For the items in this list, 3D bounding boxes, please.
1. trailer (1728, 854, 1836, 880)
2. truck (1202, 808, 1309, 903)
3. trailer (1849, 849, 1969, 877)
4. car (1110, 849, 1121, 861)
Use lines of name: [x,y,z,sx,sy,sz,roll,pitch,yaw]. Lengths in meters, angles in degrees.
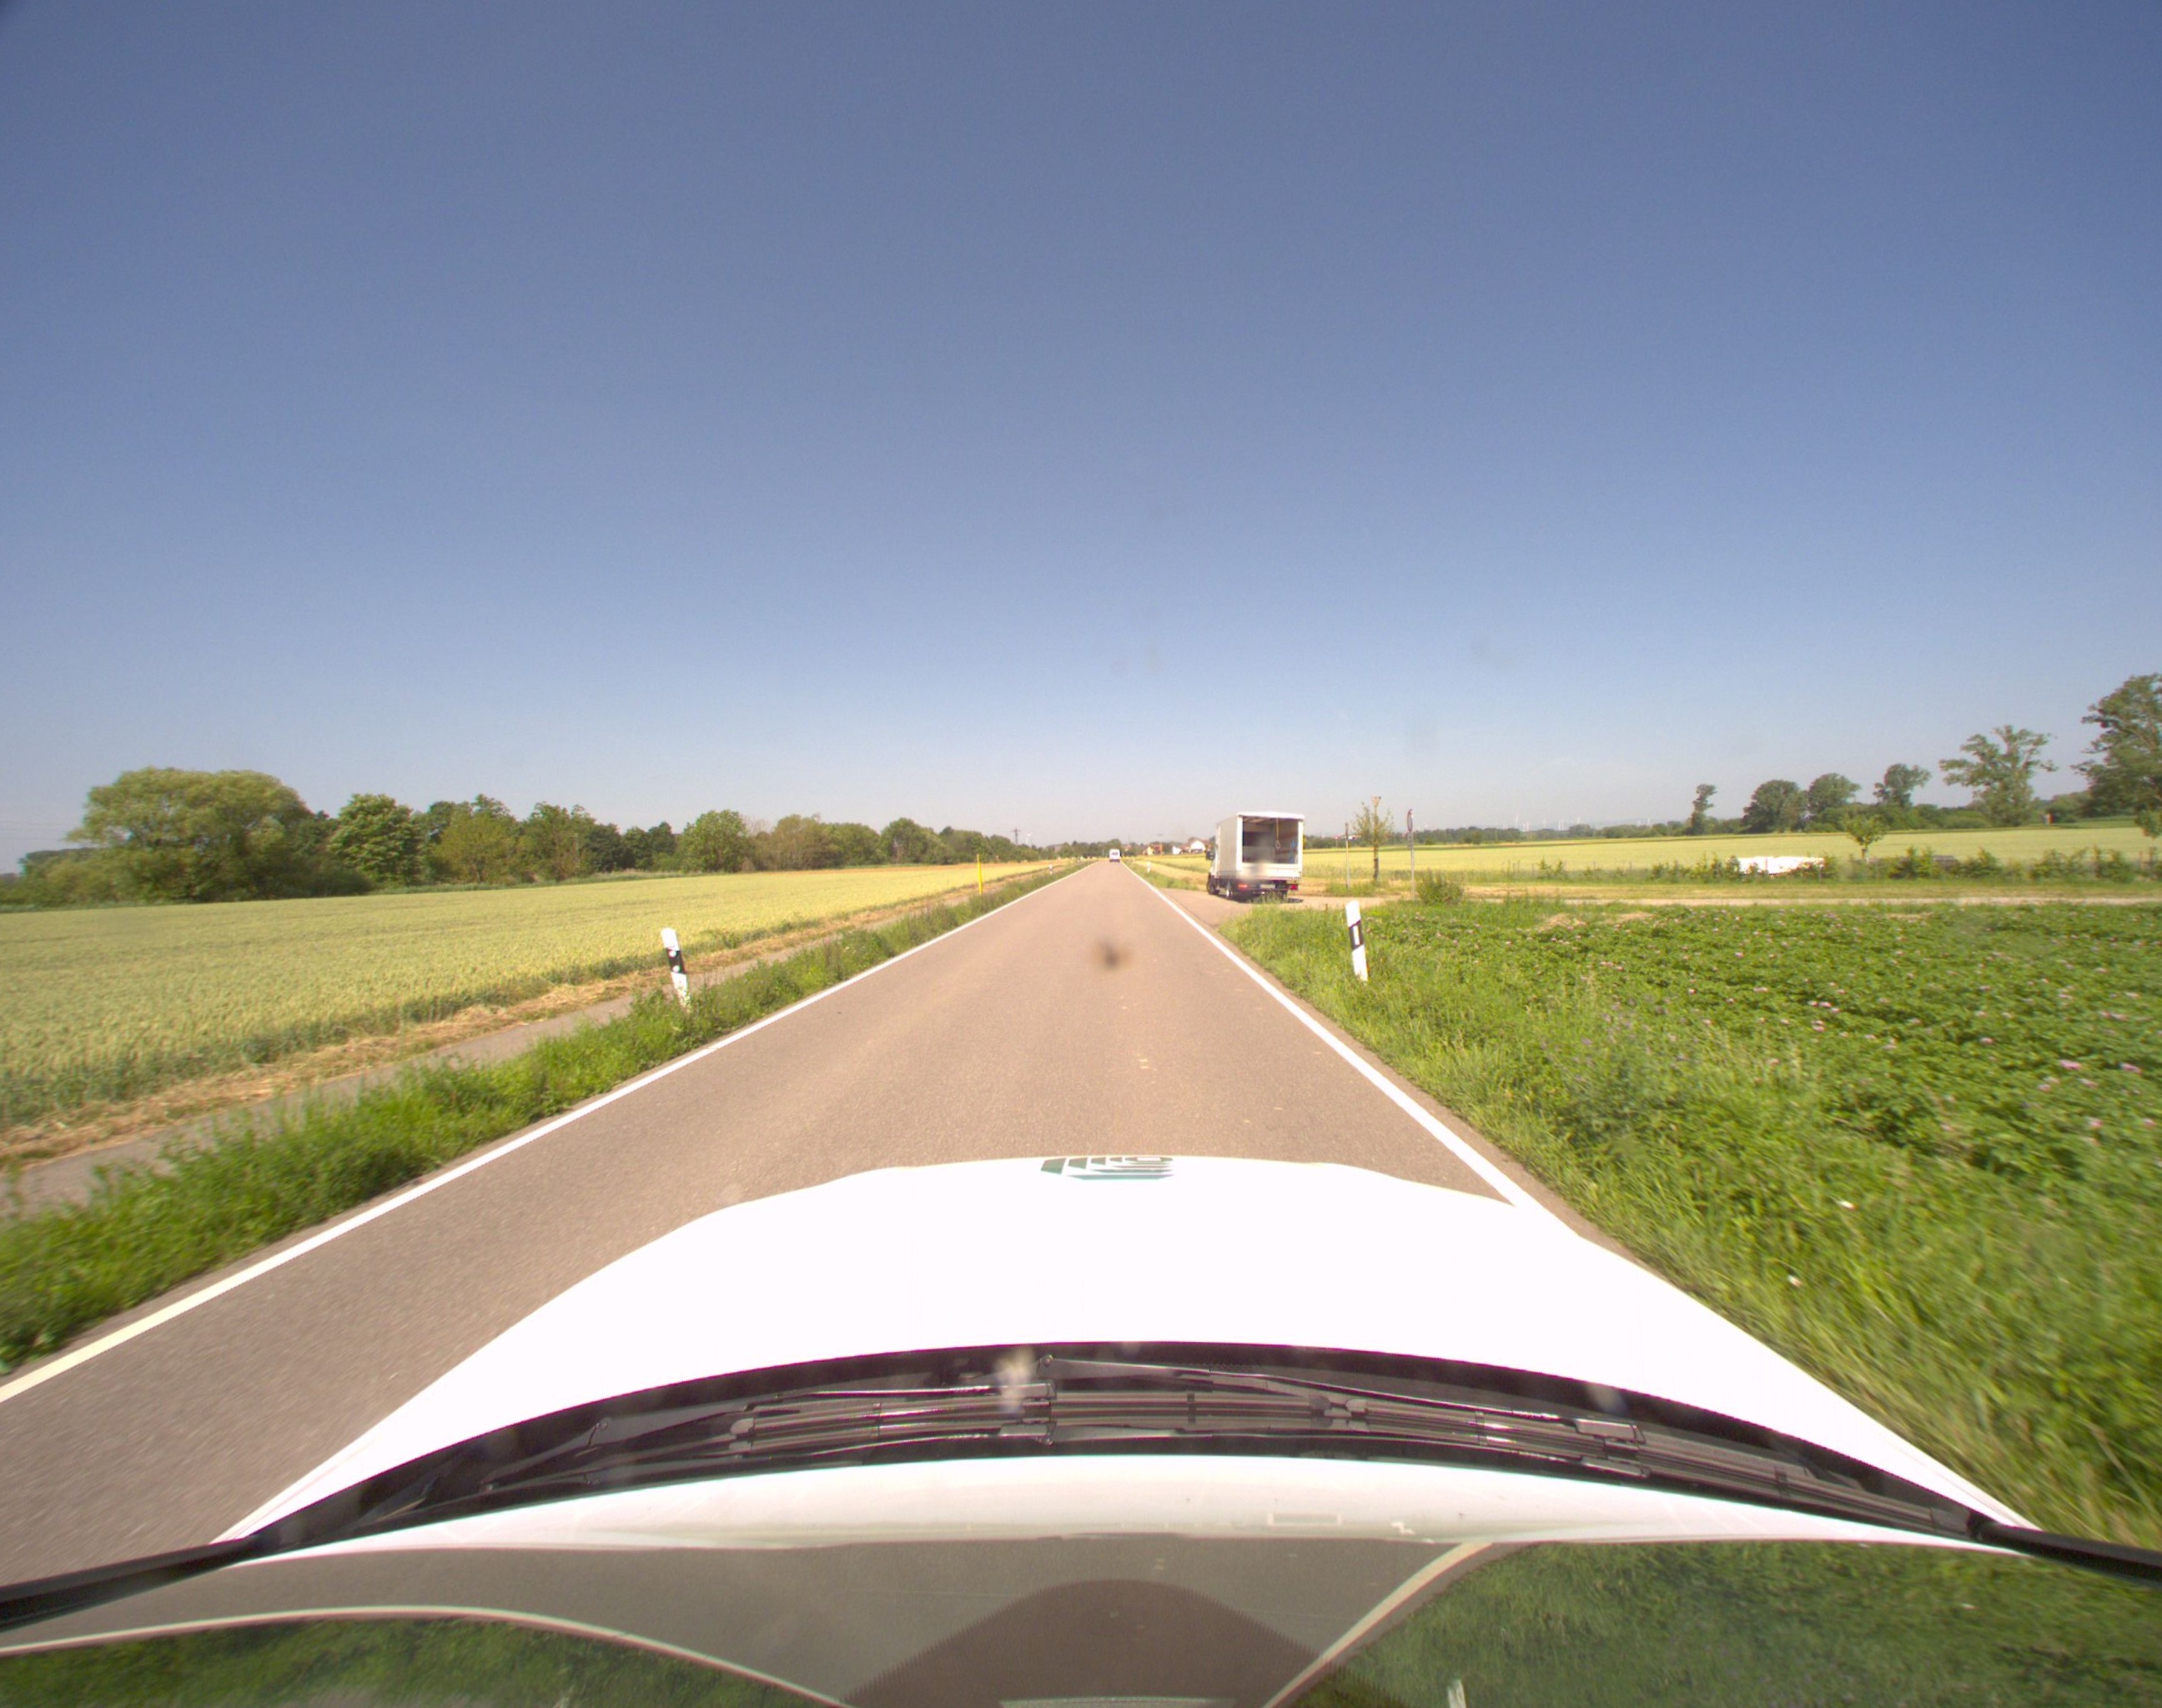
trailer: [33.465,0.607,38.993,3.559,1.189,1.670,0,0,14]
truck: [6.054,0.067,29.273,2.328,2.942,7.008,1,0,0]
trailer: [37.993,0.419,37.456,3.512,1.189,1.670,-1,0,14]
car: [6.837,0.278,162.111,2.099,2.304,5.498,0,0,2]
